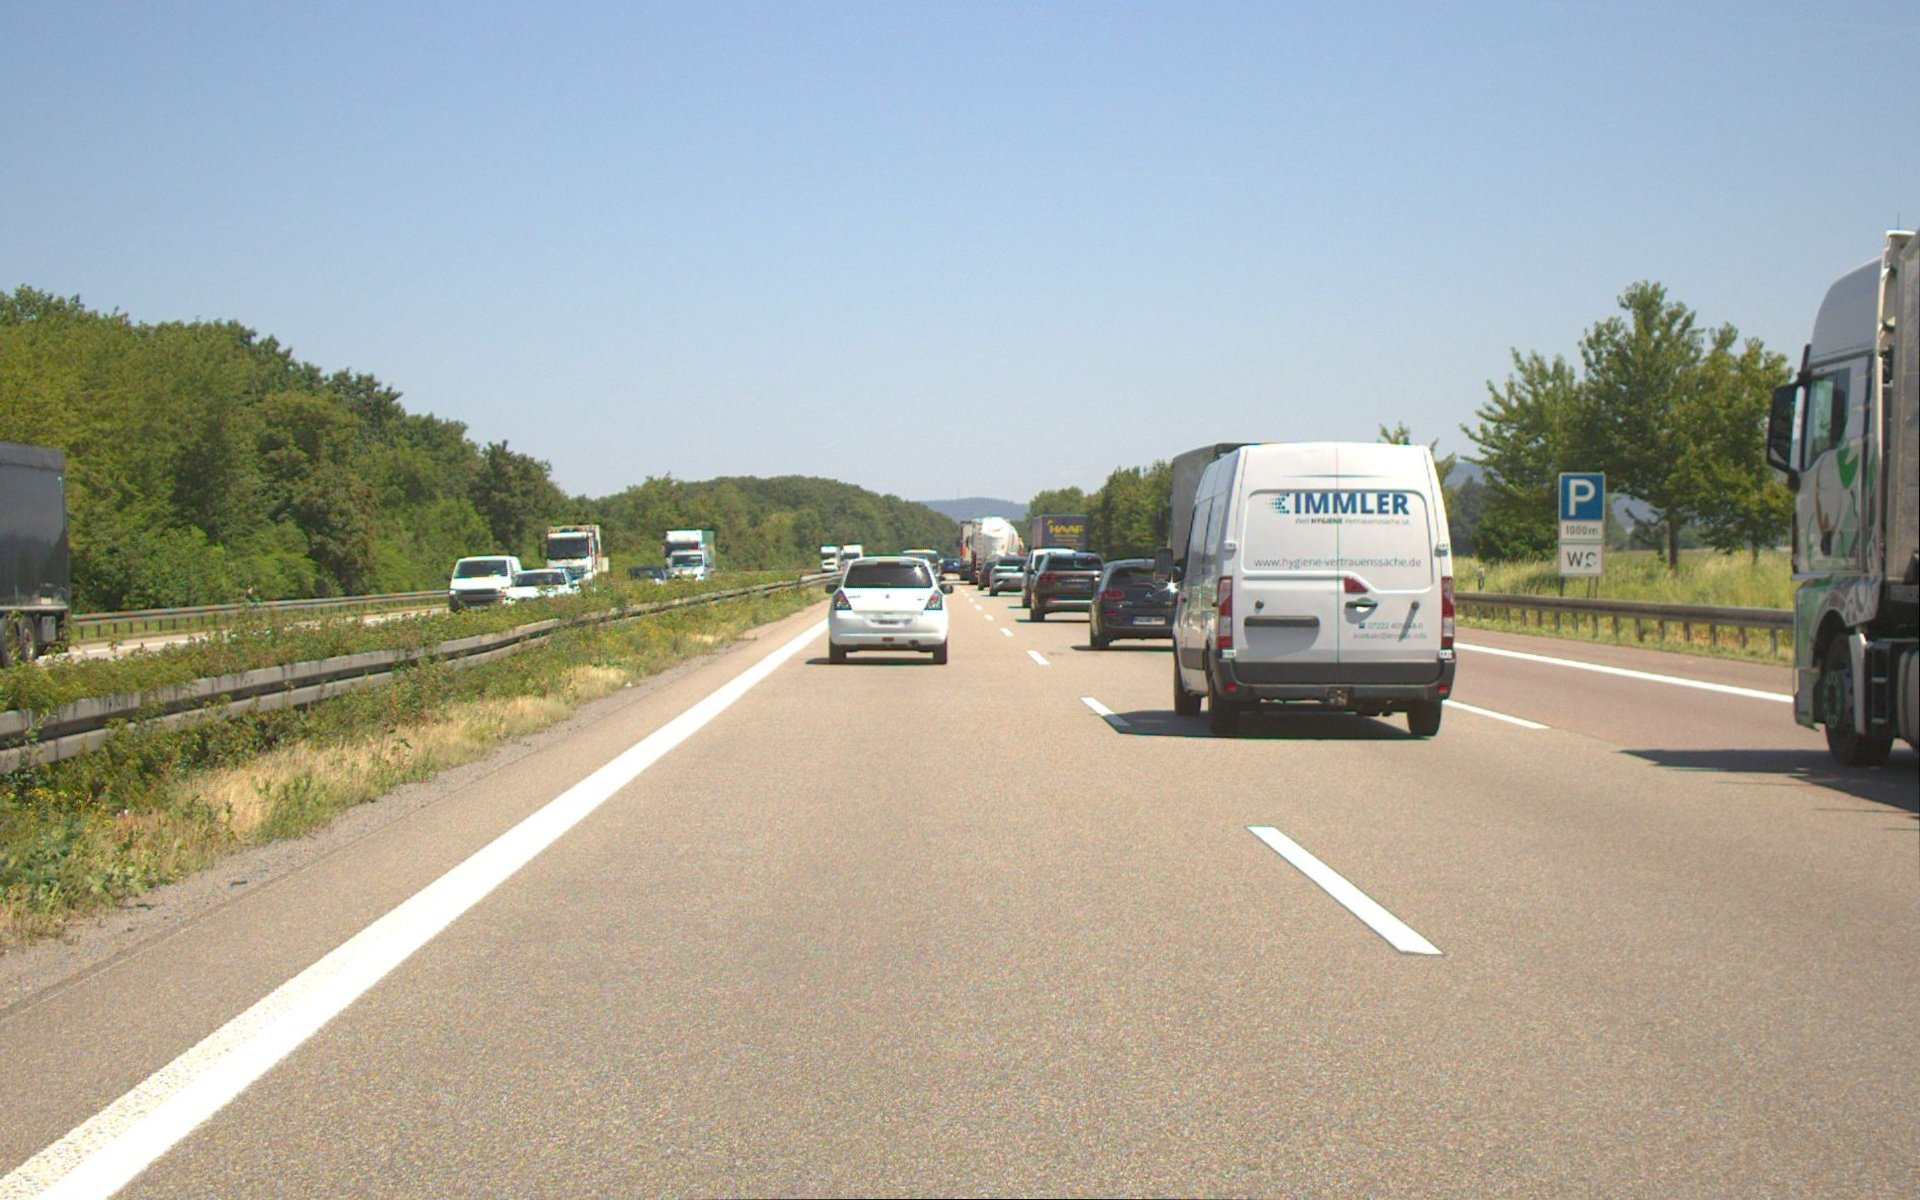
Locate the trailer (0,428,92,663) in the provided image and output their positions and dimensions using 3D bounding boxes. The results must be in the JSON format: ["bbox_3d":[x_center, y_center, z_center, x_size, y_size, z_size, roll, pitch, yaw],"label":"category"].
[{"bbox_3d":[-17.958,-0.834,57.118,3.447,3.997,14.204,-3,1,-1],"label":"trailer"}]

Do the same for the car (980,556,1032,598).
[{"bbox_3d":[1.837,-0.933,137.281,1.857,1.646,4.000,0,1,-2],"label":"car"}]

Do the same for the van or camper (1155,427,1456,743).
[{"bbox_3d":[3.025,-0.166,31.385,2.058,2.613,5.985,0,1,-1],"label":"van or camper"}]

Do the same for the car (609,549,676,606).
[{"bbox_3d":[-11.158,-0.816,121.060,1.995,1.906,5.212,-2,1,-2],"label":"car"}]

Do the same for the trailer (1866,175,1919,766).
[{"bbox_3d":[7.811,-0.765,17.381,2.653,3.945,13.637,0,1,-1],"label":"trailer"}]

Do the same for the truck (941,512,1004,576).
[{"bbox_3d":[0.771,-3.832,236.975,3.257,4.194,16.846,1,1,-3],"label":"truck"}]

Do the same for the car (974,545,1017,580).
[{"bbox_3d":[1.664,-1.790,162.563,1.857,1.646,4.000,0,1,-2],"label":"car"}]

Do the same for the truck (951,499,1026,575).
[{"bbox_3d":[1.577,-3.678,201.410,3.257,4.194,16.846,1,1,-3],"label":"truck"}]

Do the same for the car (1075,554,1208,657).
[{"bbox_3d":[2.997,0.063,57.451,1.857,1.646,4.000,0,1,-2],"label":"car"}]

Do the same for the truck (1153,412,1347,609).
[{"bbox_3d":[6.739,-2.040,82.600,3.079,4.194,16.844,1,1,0],"label":"truck"}]

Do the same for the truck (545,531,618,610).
[{"bbox_3d":[-19.076,-1.529,173.752,2.605,3.748,9.866,-2,1,-1],"label":"truck"}]

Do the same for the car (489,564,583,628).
[{"bbox_3d":[-10.992,-0.128,89.396,1.920,1.523,4.868,-2,1,-1],"label":"car"}]

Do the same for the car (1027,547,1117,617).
[{"bbox_3d":[2.661,-0.448,82.373,1.857,1.646,4.000,0,1,-2],"label":"car"}]

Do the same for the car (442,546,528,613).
[{"bbox_3d":[-14.270,-0.643,103.543,1.995,1.906,5.212,-2,1,-2],"label":"car"}]

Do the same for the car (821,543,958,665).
[{"bbox_3d":[-1.055,0.029,49.571,1.857,1.646,4.000,1,1,-2],"label":"car"}]

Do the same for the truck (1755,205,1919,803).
[{"bbox_3d":[7.715,-0.655,24.017,2.669,3.981,6.636,0,1,-1],"label":"truck"}]

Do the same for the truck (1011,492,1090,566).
[{"bbox_3d":[5.312,-4.176,205.475,3.257,4.194,16.846,1,1,-3],"label":"truck"}]

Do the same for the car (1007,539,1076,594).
[{"bbox_3d":[2.483,-1.029,105.599,1.857,1.646,4.000,0,1,-2],"label":"car"}]
